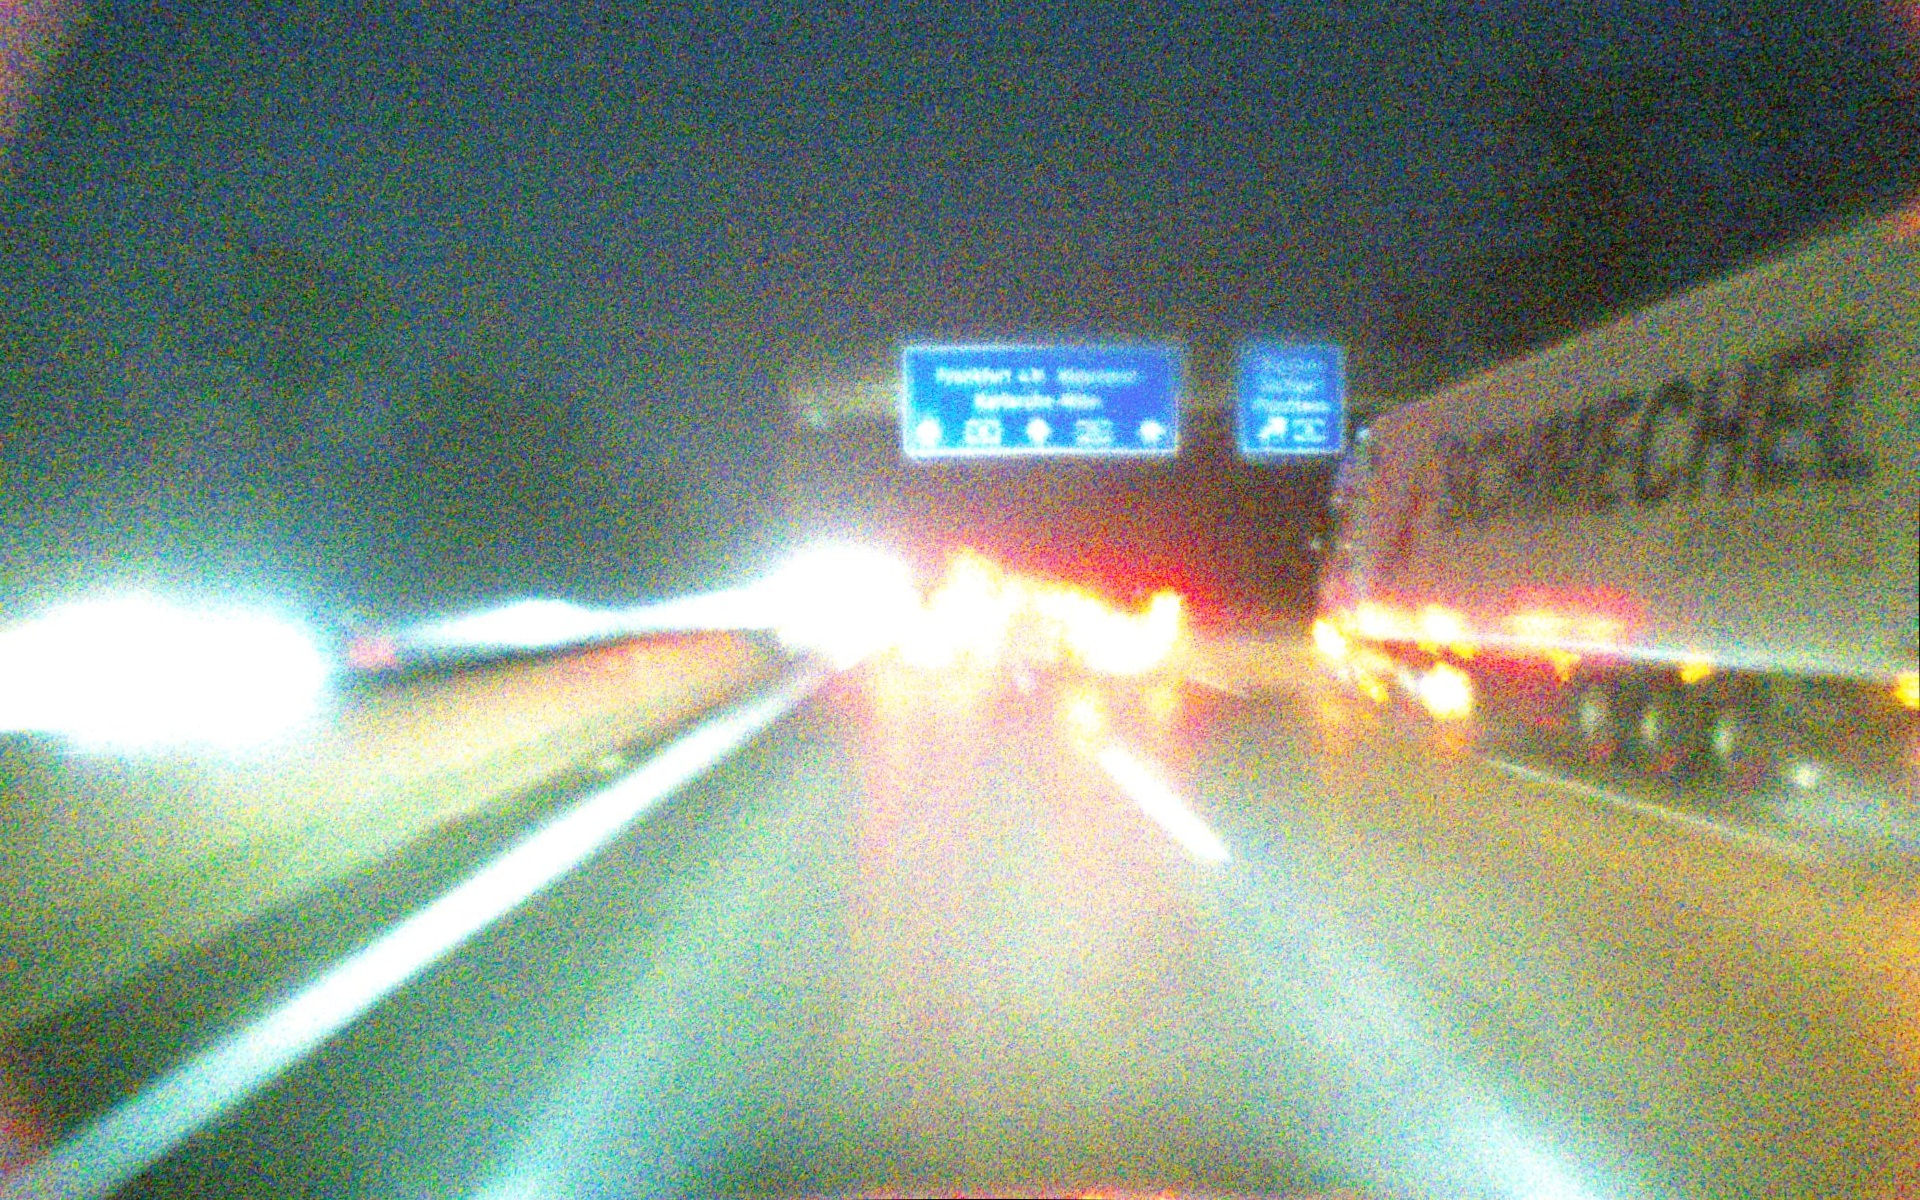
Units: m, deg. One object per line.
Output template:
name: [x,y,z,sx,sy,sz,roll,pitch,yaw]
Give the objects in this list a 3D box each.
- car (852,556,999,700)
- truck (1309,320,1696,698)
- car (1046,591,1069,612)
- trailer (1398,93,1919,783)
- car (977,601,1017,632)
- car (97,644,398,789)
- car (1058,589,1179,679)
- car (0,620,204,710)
car: [-0.766,0.477,33.759,2.656,2.578,5.828,-2,1,-3]
truck: [7.057,-1.073,22.821,2.747,4.341,7.446,0,0,-1]
car: [7.765,0.120,131.693,1.817,1.646,4.001,1,0,3]
trailer: [7.218,-1.031,15.546,2.747,4.286,12.094,0,0,-1]
car: [2.020,0.889,92.076,2.093,1.646,4.000,1,0,0]
car: [-8.838,1.386,20.995,1.925,1.501,4.446,1,0,-1]
car: [2.974,0.601,31.737,1.846,1.616,3.999,0,0,-1]
car: [-16.928,1.206,32.449,1.953,1.527,4.964,1,0,-1]
